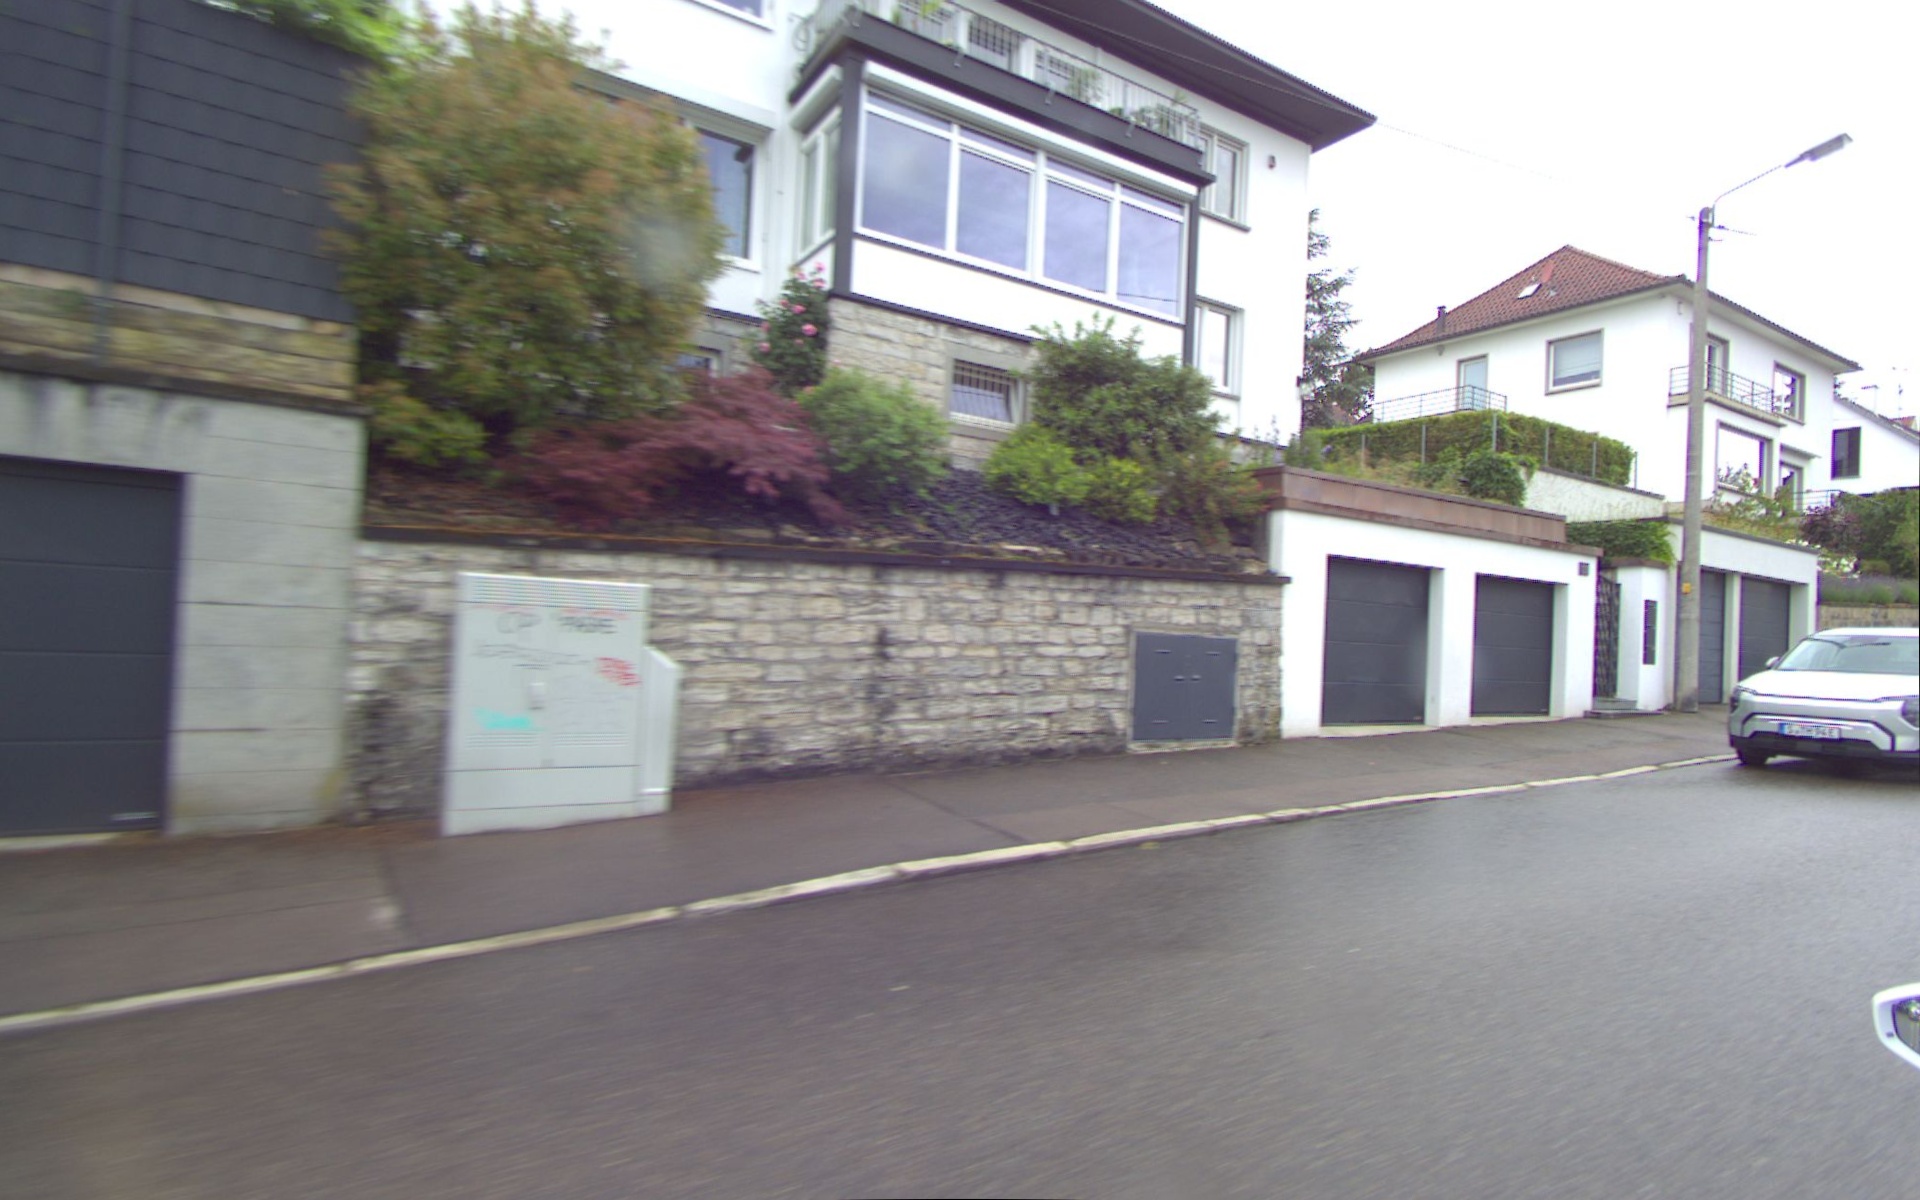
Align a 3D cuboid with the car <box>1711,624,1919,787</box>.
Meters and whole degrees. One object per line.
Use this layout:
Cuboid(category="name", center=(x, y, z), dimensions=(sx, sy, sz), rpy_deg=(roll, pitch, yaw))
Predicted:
Cuboid(category="car", center=(10.829, 1.097, 11.733), dimensions=(4.190, 1.588, 1.888), rpy_deg=(1, -1, -31))
